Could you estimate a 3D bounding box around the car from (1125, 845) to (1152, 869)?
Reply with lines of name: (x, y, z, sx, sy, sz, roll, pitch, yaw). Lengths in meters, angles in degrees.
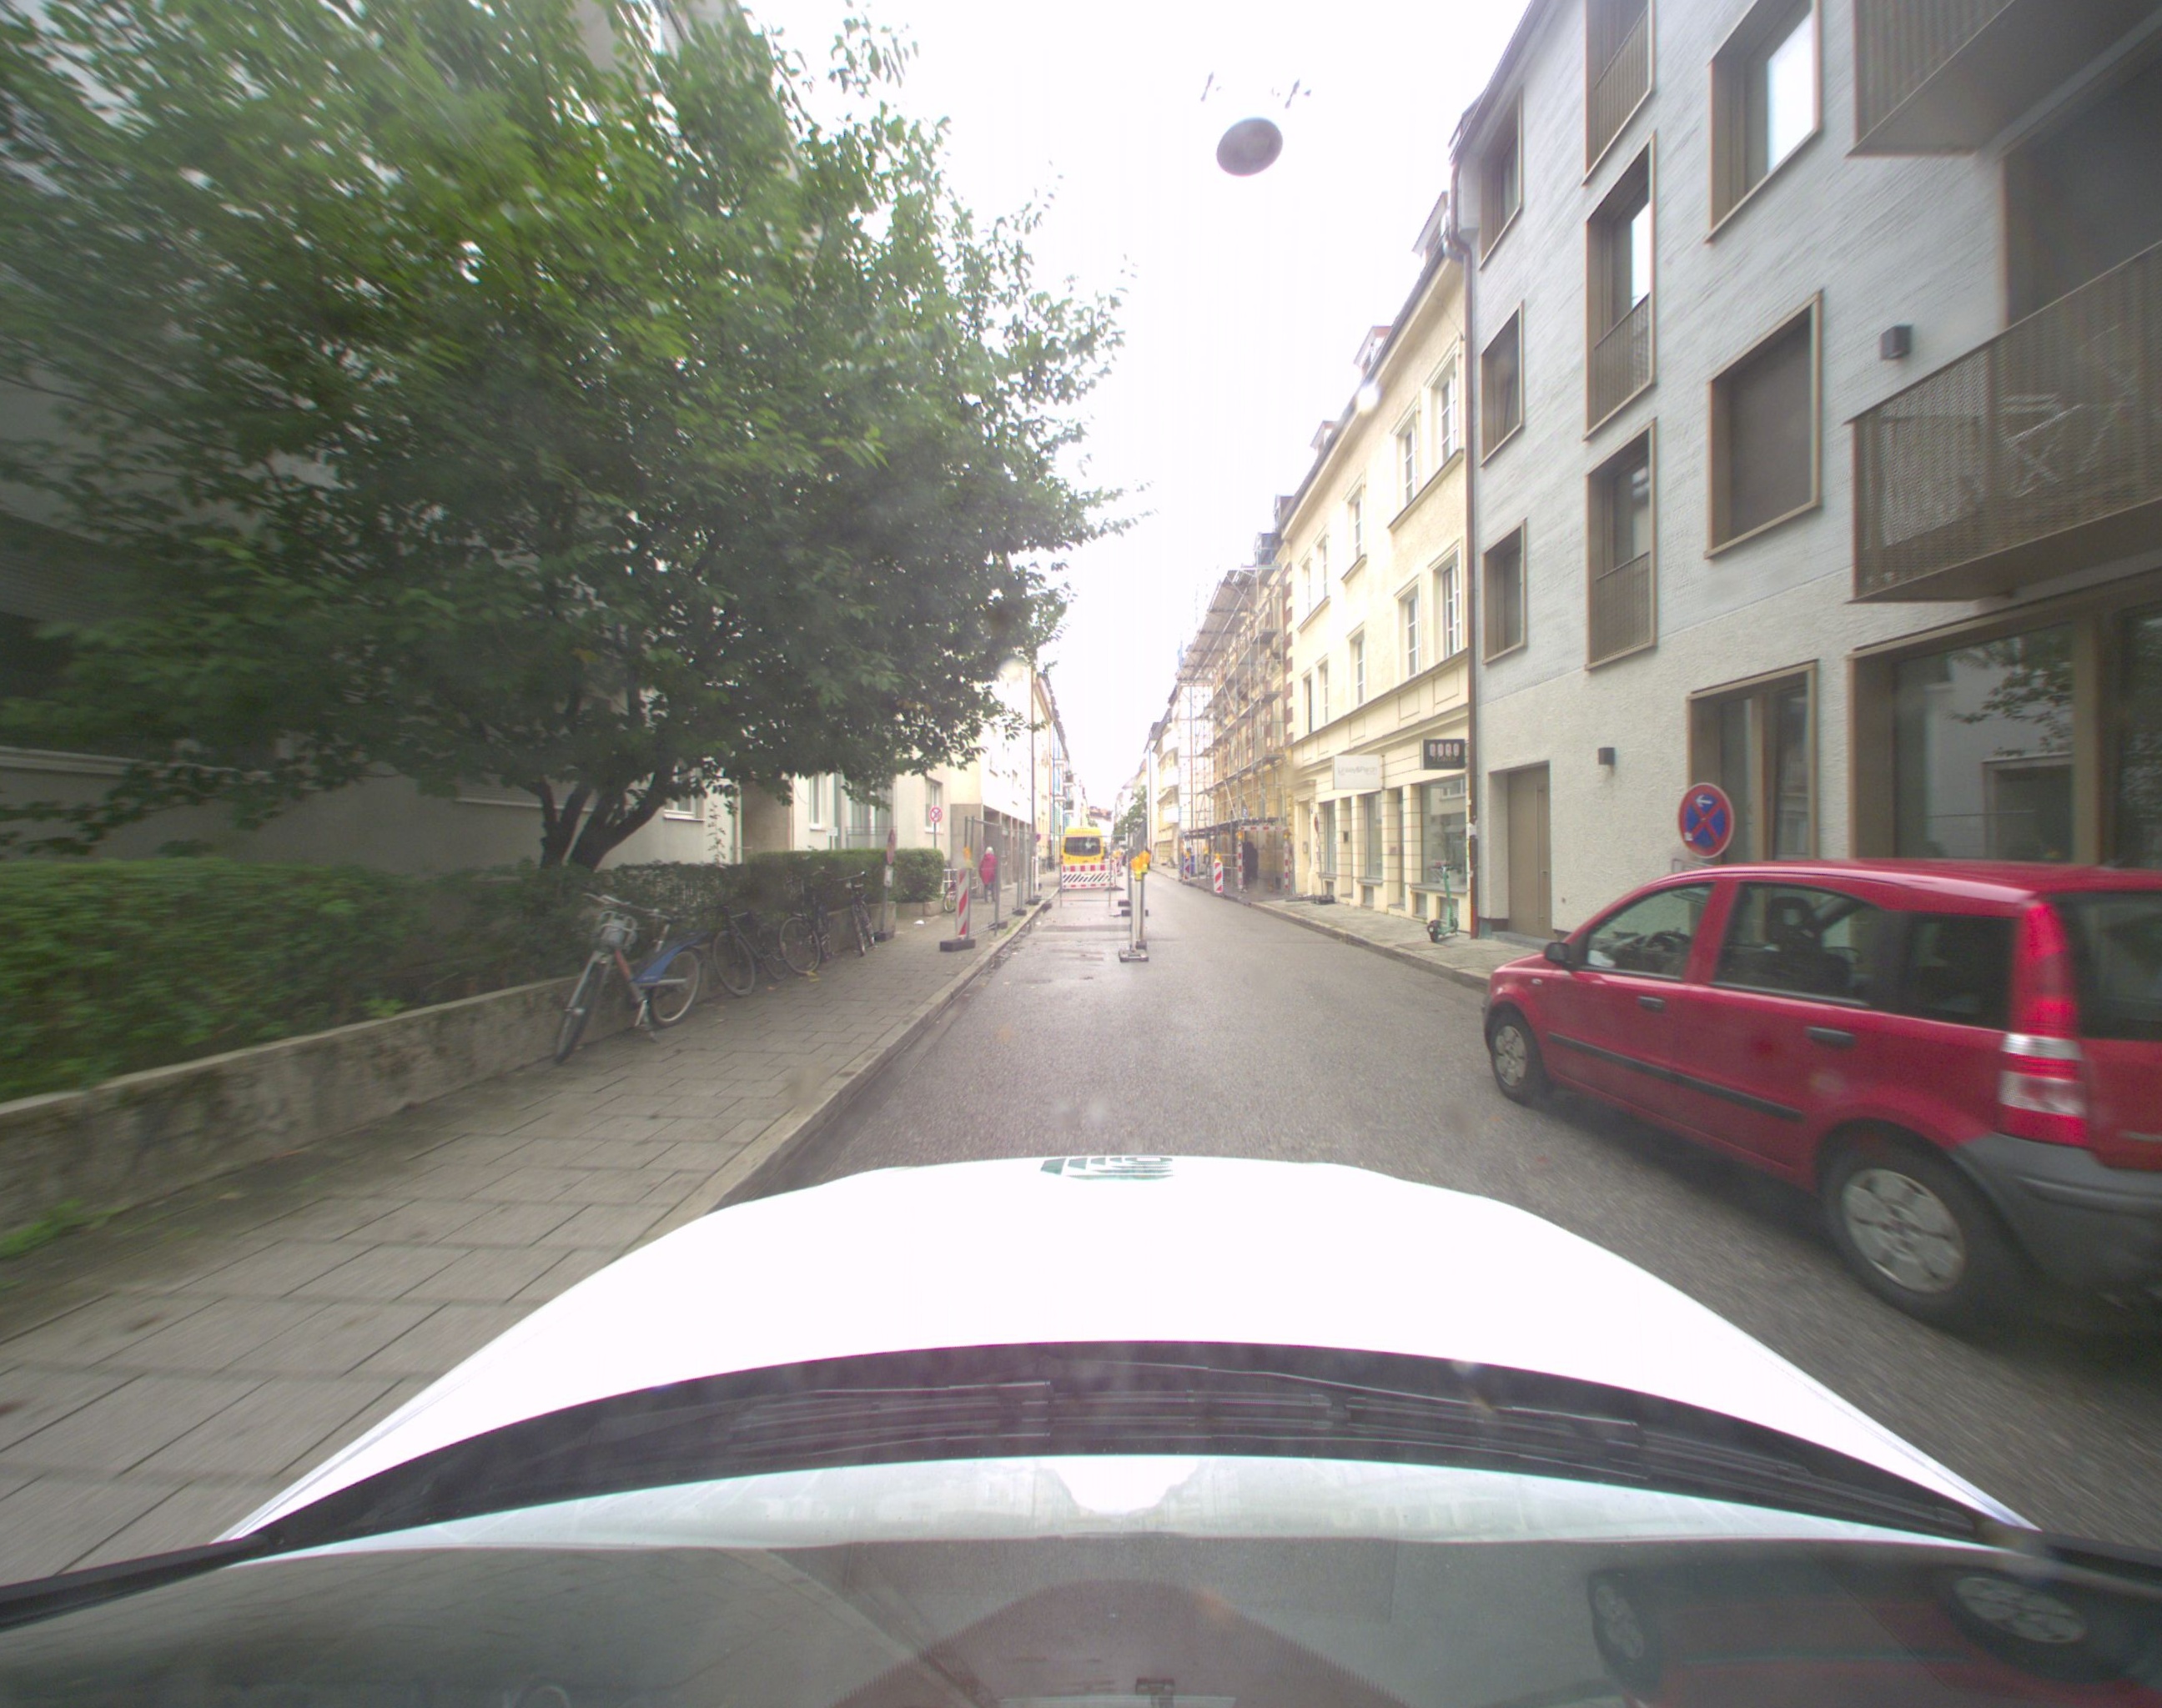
car: (4.948, 0.234, 70.380, 1.987, 1.932, 4.660, 1, 0, 0)

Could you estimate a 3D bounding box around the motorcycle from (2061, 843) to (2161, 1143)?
motorcycle: (5.588, 0.667, 3.316, 0.802, 1.423, 1.933, -5, 0, 2)

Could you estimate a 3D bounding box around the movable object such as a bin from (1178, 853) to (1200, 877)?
movable object such as a bin: (6.354, 0.630, 47.941, 1.079, 1.346, 1.322, -4, 0, 13)

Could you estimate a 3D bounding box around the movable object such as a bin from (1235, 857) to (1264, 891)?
movable object such as a bin: (6.007, 0.698, 29.037, 0.727, 1.141, 0.988, -5, 0, 0)

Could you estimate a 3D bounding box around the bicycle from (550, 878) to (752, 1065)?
bicycle: (-3.120, 0.782, 6.103, 0.486, 1.151, 1.700, 2, -1, 3)

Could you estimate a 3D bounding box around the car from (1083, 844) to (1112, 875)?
car: (1.078, 0.334, 53.496, 1.721, 1.897, 5.509, -2, 0, 1)

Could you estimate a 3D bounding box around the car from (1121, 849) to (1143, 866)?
car: (5.033, 0.294, 80.518, 1.888, 1.641, 4.322, -1, 0, 0)

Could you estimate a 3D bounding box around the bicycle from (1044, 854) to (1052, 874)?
bicycle: (-2.175, 0.636, 53.337, 0.381, 1.188, 2.131, 1, 1, -6)

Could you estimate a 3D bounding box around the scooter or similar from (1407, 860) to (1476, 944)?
scooter or similar: (5.790, 0.741, 13.043, 0.489, 1.183, 1.618, -4, 0, 41)

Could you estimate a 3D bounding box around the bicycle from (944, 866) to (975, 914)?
bicycle: (-2.956, 0.853, 19.939, 0.375, 1.063, 1.598, 5, 0, 2)

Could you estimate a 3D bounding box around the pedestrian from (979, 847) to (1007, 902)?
pedestrian: (-2.502, 0.580, 23.215, 0.635, 1.532, 0.748, -1, 0, 3)

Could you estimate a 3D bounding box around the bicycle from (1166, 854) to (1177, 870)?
bicycle: (7.058, 0.602, 63.453, 0.635, 1.153, 1.916, -3, 1, 2)

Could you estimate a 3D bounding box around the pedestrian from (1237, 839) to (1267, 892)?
pedestrian: (5.987, 0.391, 28.474, 0.727, 1.752, 0.988, -4, 0, 0)

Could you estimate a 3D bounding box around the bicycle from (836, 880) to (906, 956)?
bicycle: (-3.056, 0.897, 11.996, 0.442, 0.978, 1.817, 2, -1, 3)

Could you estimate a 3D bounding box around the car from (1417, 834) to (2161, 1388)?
car: (3.405, 0.722, 4.284, 1.764, 1.524, 4.070, 1, 0, 3)

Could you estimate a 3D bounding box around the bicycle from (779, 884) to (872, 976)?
bicycle: (-3.125, 0.890, 10.131, 0.442, 0.978, 1.854, 2, -1, 3)

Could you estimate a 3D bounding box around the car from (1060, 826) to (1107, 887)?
car: (0.154, 0.111, 38.353, 1.987, 2.578, 6.737, -1, 0, 1)

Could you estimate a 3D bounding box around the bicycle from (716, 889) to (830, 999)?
bicycle: (-3.183, 0.887, 8.570, 0.434, 0.978, 1.700, 2, -1, 3)
